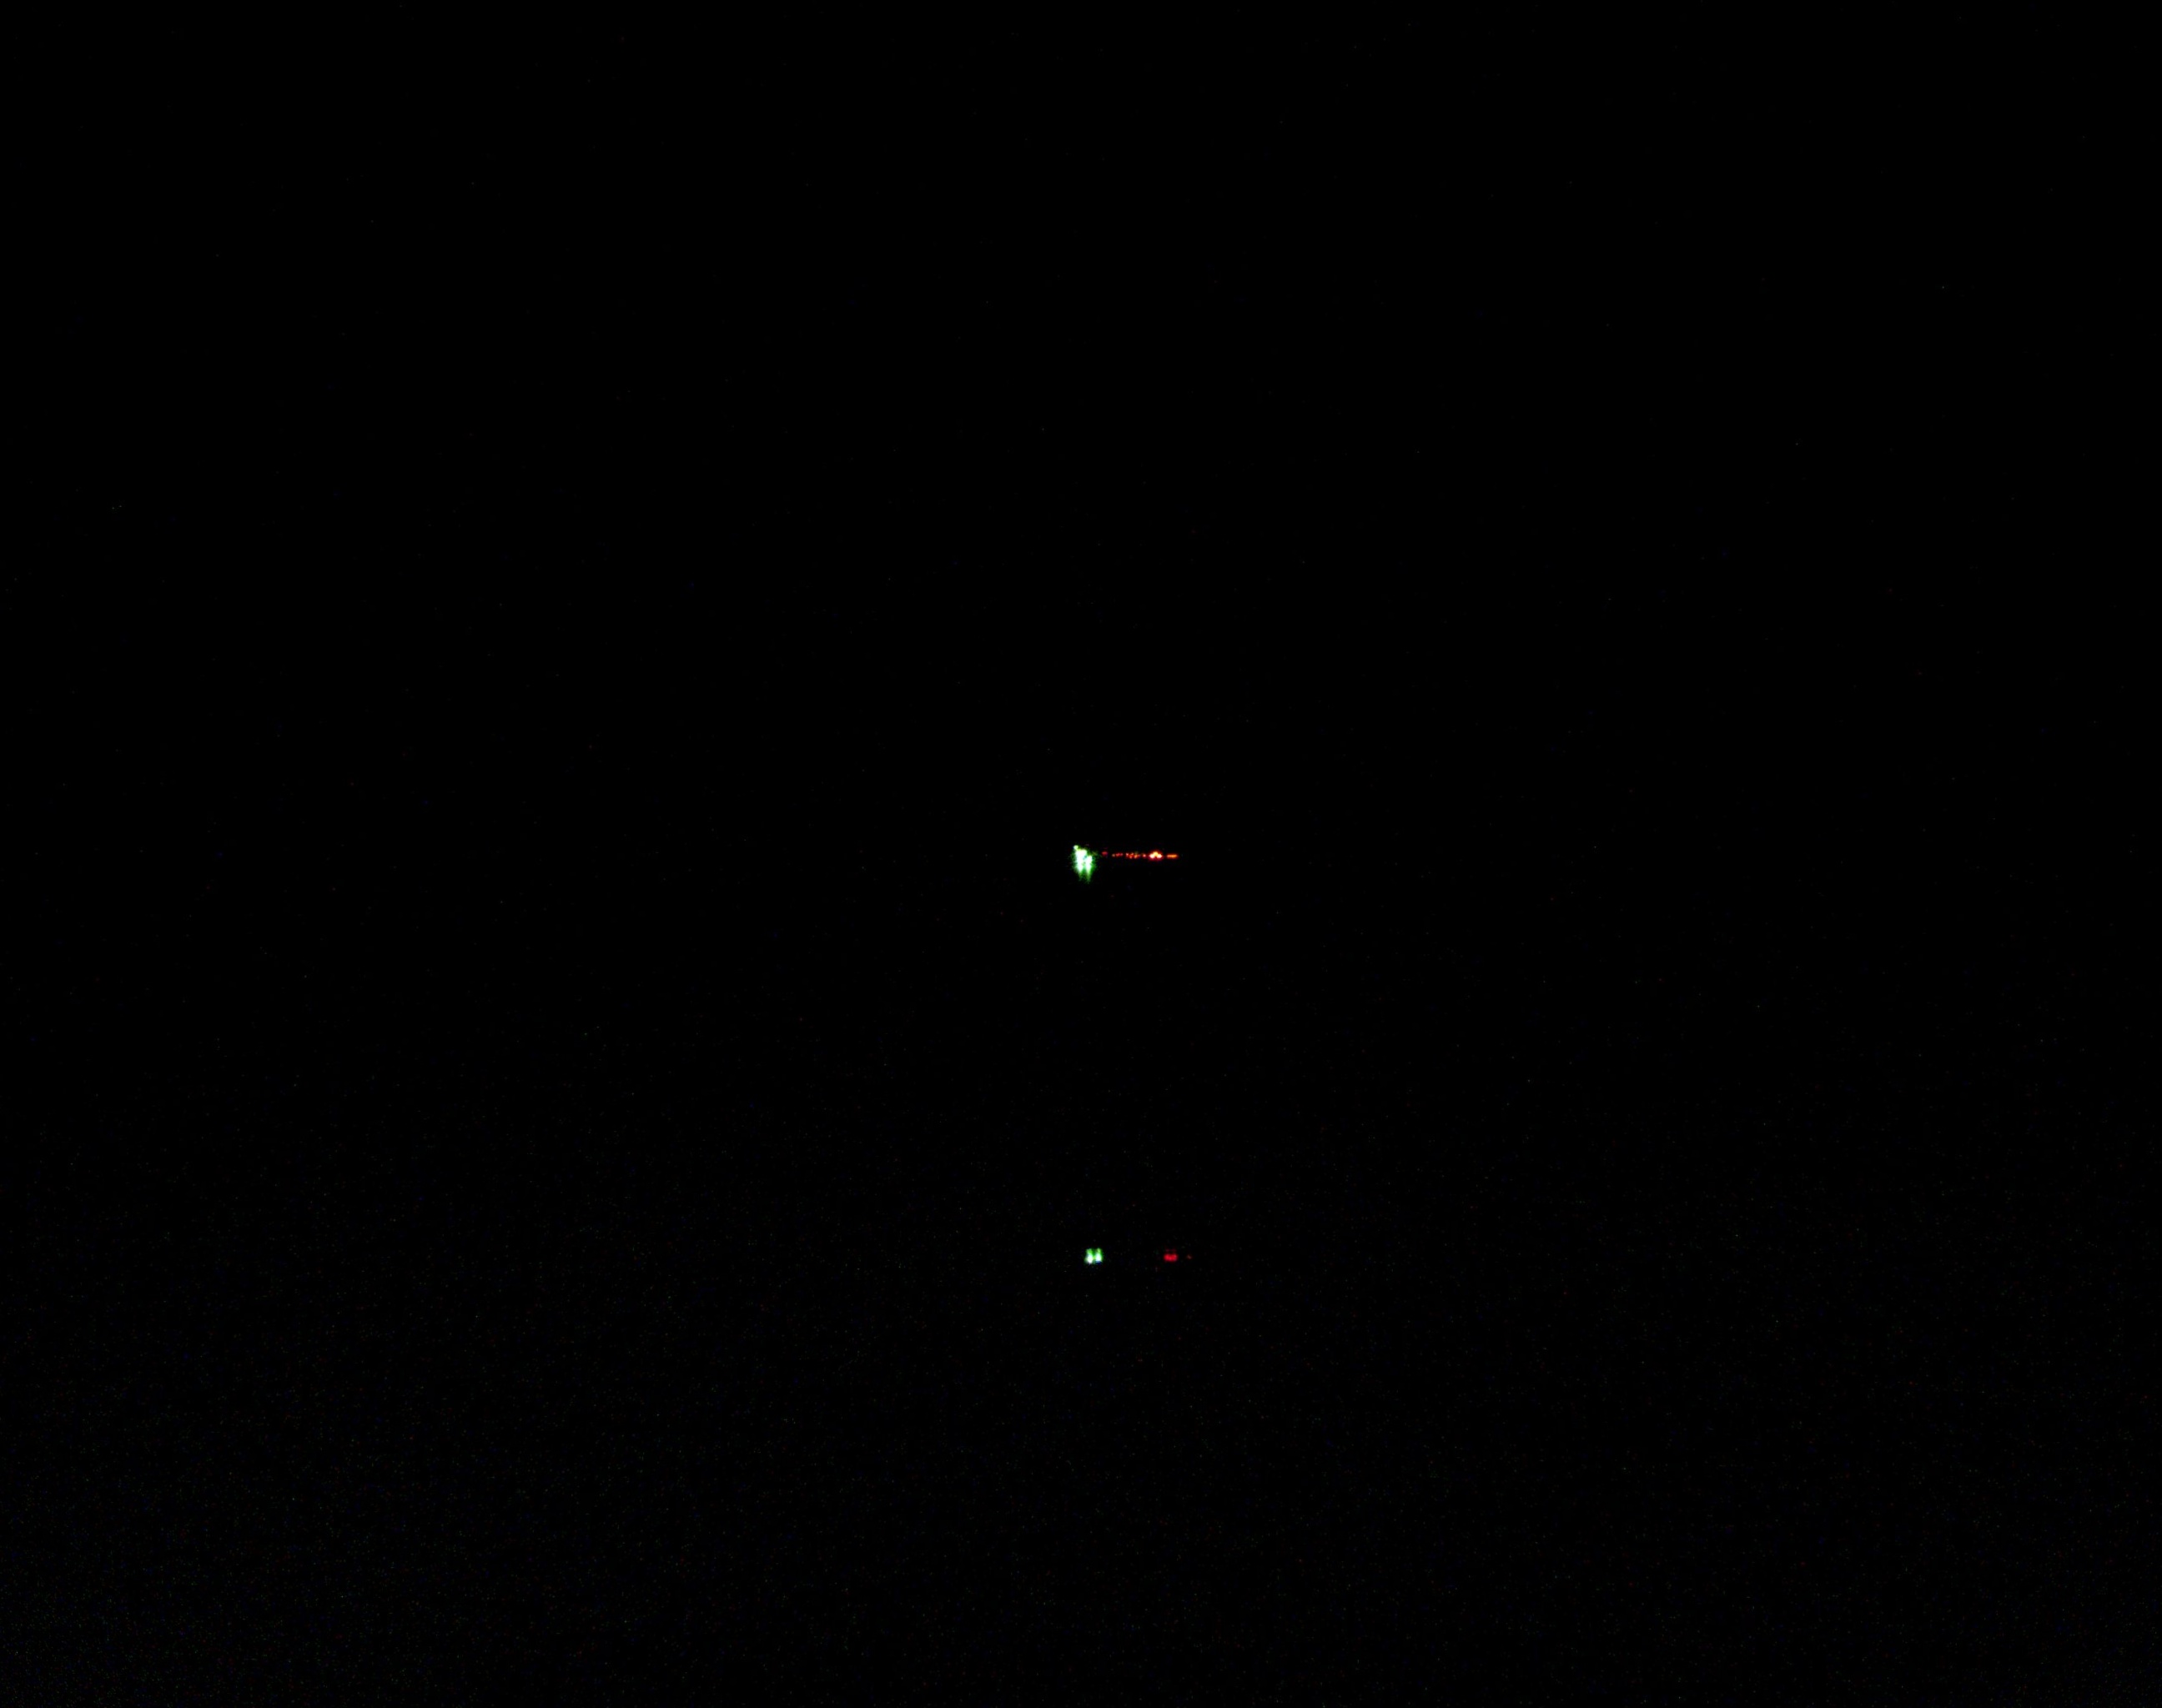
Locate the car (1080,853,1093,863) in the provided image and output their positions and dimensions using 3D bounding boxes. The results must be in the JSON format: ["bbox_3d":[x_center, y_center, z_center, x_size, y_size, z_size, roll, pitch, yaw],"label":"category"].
[{"bbox_3d":[0.940,0.685,129.322,2.154,1.558,4.581,-2,1,0],"label":"car"}]

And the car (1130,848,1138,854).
[{"bbox_3d":[15.623,-0.860,223.785,2.154,1.558,3.999,-2,1,-1],"label":"car"}]

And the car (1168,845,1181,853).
[{"bbox_3d":[19.696,-0.978,159.569,2.154,1.558,3.999,-2,1,-1],"label":"car"}]

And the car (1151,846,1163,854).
[{"bbox_3d":[16.064,-0.872,160.515,1.998,1.587,3.999,-2,1,1],"label":"car"}]
